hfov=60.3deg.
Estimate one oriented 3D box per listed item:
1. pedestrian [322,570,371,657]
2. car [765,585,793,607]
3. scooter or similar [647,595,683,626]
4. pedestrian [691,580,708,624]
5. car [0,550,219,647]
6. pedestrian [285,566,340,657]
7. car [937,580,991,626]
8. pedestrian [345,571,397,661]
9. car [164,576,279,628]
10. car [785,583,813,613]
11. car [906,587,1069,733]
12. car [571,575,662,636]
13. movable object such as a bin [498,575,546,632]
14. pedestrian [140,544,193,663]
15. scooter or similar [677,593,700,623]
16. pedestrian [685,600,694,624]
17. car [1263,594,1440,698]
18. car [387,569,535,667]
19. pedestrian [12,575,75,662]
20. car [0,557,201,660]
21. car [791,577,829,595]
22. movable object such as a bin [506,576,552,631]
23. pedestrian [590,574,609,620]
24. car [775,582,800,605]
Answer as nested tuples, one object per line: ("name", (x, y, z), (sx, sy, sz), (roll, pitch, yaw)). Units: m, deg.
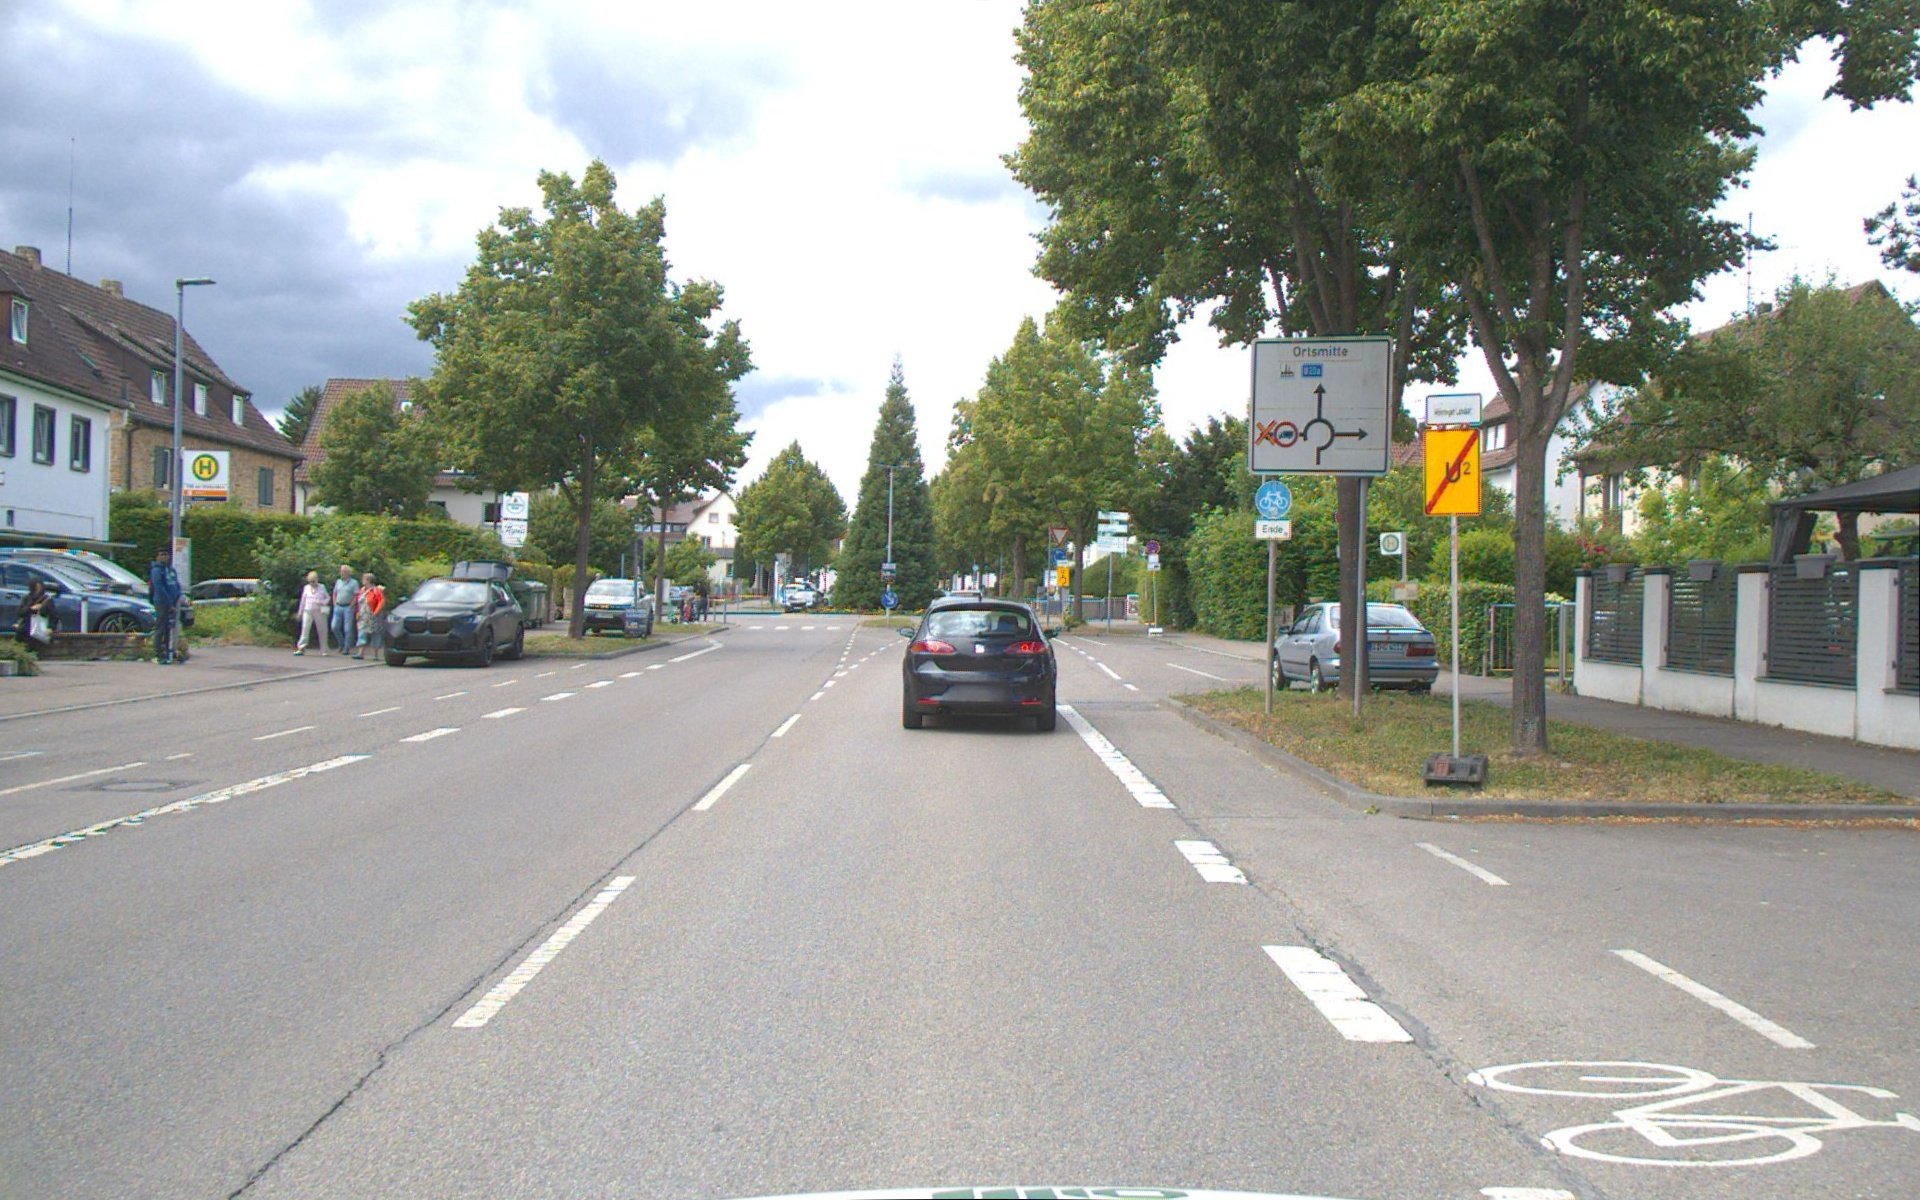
("pedestrian", (-12.102, 0.257, 32.647), (0.772, 1.692, 0.590), (1, 0, -8))
("car", (-13.792, -0.343, 126.207), (1.761, 1.629, 3.998), (0, 0, -2))
("scooter or similar", (-10.916, 0.381, 61.206), (1.272, 1.158, 0.343), (0, 0, -33))
("pedestrian", (-10.114, 0.061, 64.262), (0.477, 1.699, 0.509), (1, 0, -35))
("car", (-16.957, -0.072, 32.549), (3.902, 1.720, 1.872), (1, 4, 9))
("pedestrian", (-12.280, 0.219, 31.378), (0.772, 1.692, 0.880), (1, 0, -8))
("car", (0.126, 0.103, 62.588), (1.953, 1.641, 4.000), (1, 0, 0))
("pedestrian", (-11.276, 0.299, 31.668), (0.772, 1.692, 0.753), (1, 0, -8))
("car", (-21.392, 0.053, 47.975), (2.771, 1.467, 1.297), (1, 0, -6))
("car", (-9.187, -0.137, 94.790), (1.538, 1.663, 3.618), (1, 0, -5))
("car", (0.343, 0.621, 19.386), (1.696, 1.512, 4.001), (0, 0, 2))
("car", (-10.073, 0.155, 48.792), (1.823, 1.682, 4.293), (1, 0, -1))
("movable object such as a bin", (-13.571, 0.105, 51.294), (1.182, 1.680, 0.997), (3, 0, -4))
("pedestrian", (-12.468, 0.054, 26.009), (0.493, 1.837, 0.671), (1, 0, -1))
("scooter or similar", (-10.647, 0.299, 64.823), (0.403, 1.114, 0.955), (3, 0, -43))
("pedestrian", (-10.324, 0.461, 63.141), (0.235, 0.910, 0.257), (2, 0, -29))
("car", (5.782, 0.666, 24.888), (1.579, 1.401, 4.386), (1, -1, -1))
("car", (-9.664, 0.314, 32.372), (1.690, 1.755, 4.562), (1, 0, -3))
("pedestrian", (-14.358, 0.283, 25.919), (0.575, 1.336, 0.706), (1, 0, 0))
("car", (-15.311, 0.110, 27.694), (4.443, 1.581, 2.026), (2, 0, -18))
("car", (-17.310, -1.592, 191.327), (3.903, 2.005, 2.037), (0, 0, 18))
("movable object such as a bin", (-13.789, 0.096, 52.969), (1.182, 1.680, 0.997), (3, 0, -4))
("pedestrian", (-14.409, -0.122, 66.132), (0.557, 1.815, 0.533), (1, 0, -41))
("car", (-15.024, -0.557, 144.242), (1.990, 2.005, 3.997), (0, 0, -4))
